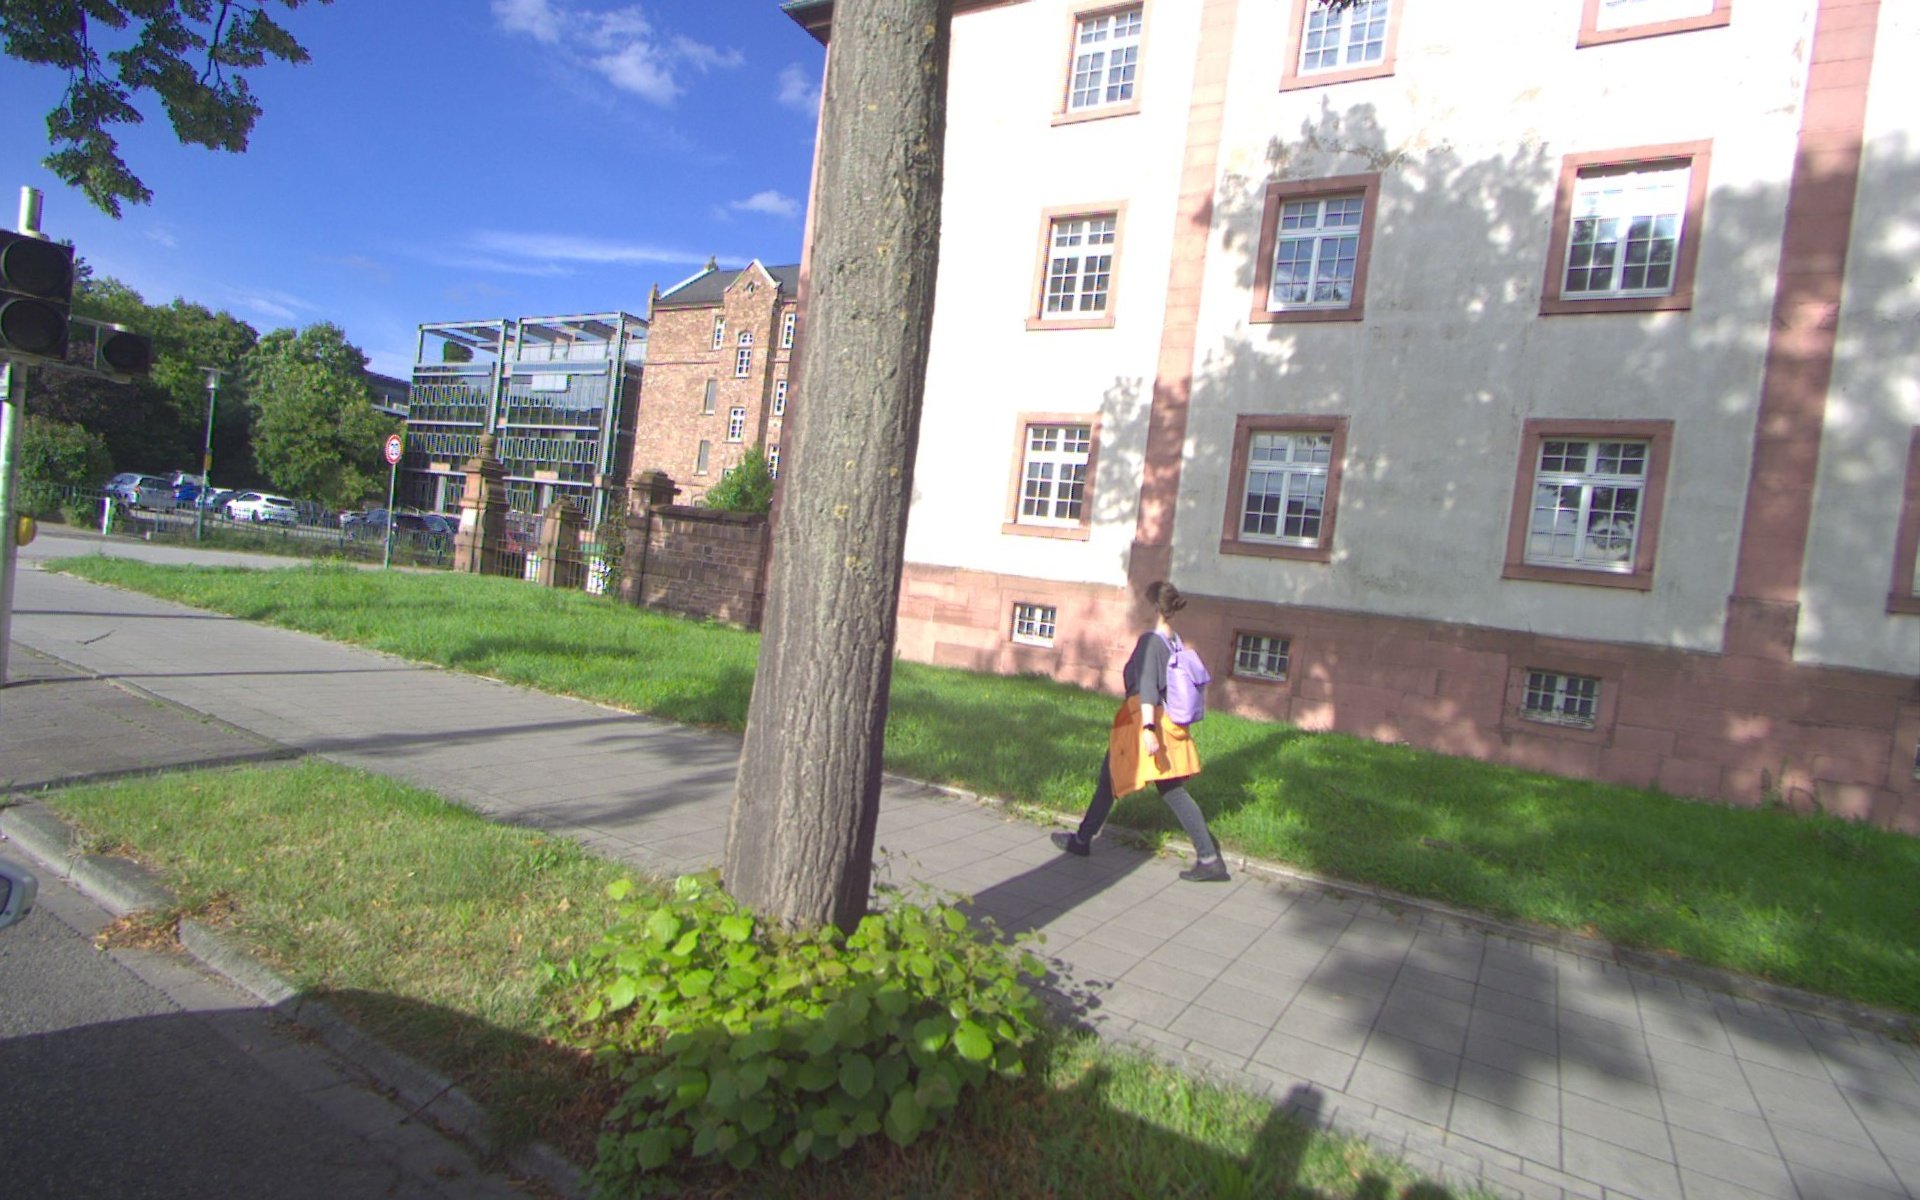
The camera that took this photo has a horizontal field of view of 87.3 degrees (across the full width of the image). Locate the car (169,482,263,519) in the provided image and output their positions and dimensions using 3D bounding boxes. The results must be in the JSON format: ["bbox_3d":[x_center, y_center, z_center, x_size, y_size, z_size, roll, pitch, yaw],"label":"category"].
[{"bbox_3d":[-44.099,-5.888,59.703,1.966,1.572,3.991,8,1,30],"label":"car"}]

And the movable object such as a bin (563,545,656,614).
[{"bbox_3d":[-8.846,-0.516,25.429,1.517,1.477,1.416,8,1,28],"label":"movable object such as a bin"}]

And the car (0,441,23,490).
[{"bbox_3d":[-47.443,-6.681,47.610,1.968,2.214,4.120,8,2,34],"label":"car"}]

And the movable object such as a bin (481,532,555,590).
[{"bbox_3d":[-11.135,-0.980,25.352,1.074,1.246,1.193,8,1,28],"label":"movable object such as a bin"}]

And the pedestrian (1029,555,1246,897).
[{"bbox_3d":[0.968,0.619,5.421,0.756,1.612,0.814,7,4,30],"label":"pedestrian"}]

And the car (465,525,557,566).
[{"bbox_3d":[-20.787,-2.536,46.575,3.889,1.282,1.712,10,3,26],"label":"car"}]

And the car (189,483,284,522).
[{"bbox_3d":[-42.225,-5.683,58.763,1.966,1.616,3.991,8,1,30],"label":"car"}]

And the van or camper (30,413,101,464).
[{"bbox_3d":[-59.093,-10.659,66.436,5.038,2.915,2.327,8,5,34],"label":"van or camper"}]

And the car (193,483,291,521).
[{"bbox_3d":[-40.473,-5.494,56.786,1.966,1.505,3.991,8,1,31],"label":"car"}]

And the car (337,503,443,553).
[{"bbox_3d":[-23.829,-3.002,41.996,4.531,1.610,1.851,7,2,32],"label":"car"}]

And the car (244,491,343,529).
[{"bbox_3d":[-36.133,-4.887,54.593,1.969,1.326,3.989,7,-1,36],"label":"car"}]

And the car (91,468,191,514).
[{"bbox_3d":[-35.656,-4.745,43.800,3.931,1.461,1.996,8,2,28],"label":"car"}]

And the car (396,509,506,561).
[{"bbox_3d":[-22.564,-2.900,44.566,4.717,1.766,1.853,7,2,27],"label":"car"}]

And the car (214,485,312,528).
[{"bbox_3d":[-32.947,-4.437,47.578,3.928,1.461,1.998,8,2,24],"label":"car"}]

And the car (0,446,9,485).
[{"bbox_3d":[-43.508,-6.071,42.532,1.968,1.642,4.448,8,1,34],"label":"car"}]

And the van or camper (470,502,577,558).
[{"bbox_3d":[-26.091,-4.168,60.356,2.551,2.589,5.245,8,1,29],"label":"van or camper"}]
